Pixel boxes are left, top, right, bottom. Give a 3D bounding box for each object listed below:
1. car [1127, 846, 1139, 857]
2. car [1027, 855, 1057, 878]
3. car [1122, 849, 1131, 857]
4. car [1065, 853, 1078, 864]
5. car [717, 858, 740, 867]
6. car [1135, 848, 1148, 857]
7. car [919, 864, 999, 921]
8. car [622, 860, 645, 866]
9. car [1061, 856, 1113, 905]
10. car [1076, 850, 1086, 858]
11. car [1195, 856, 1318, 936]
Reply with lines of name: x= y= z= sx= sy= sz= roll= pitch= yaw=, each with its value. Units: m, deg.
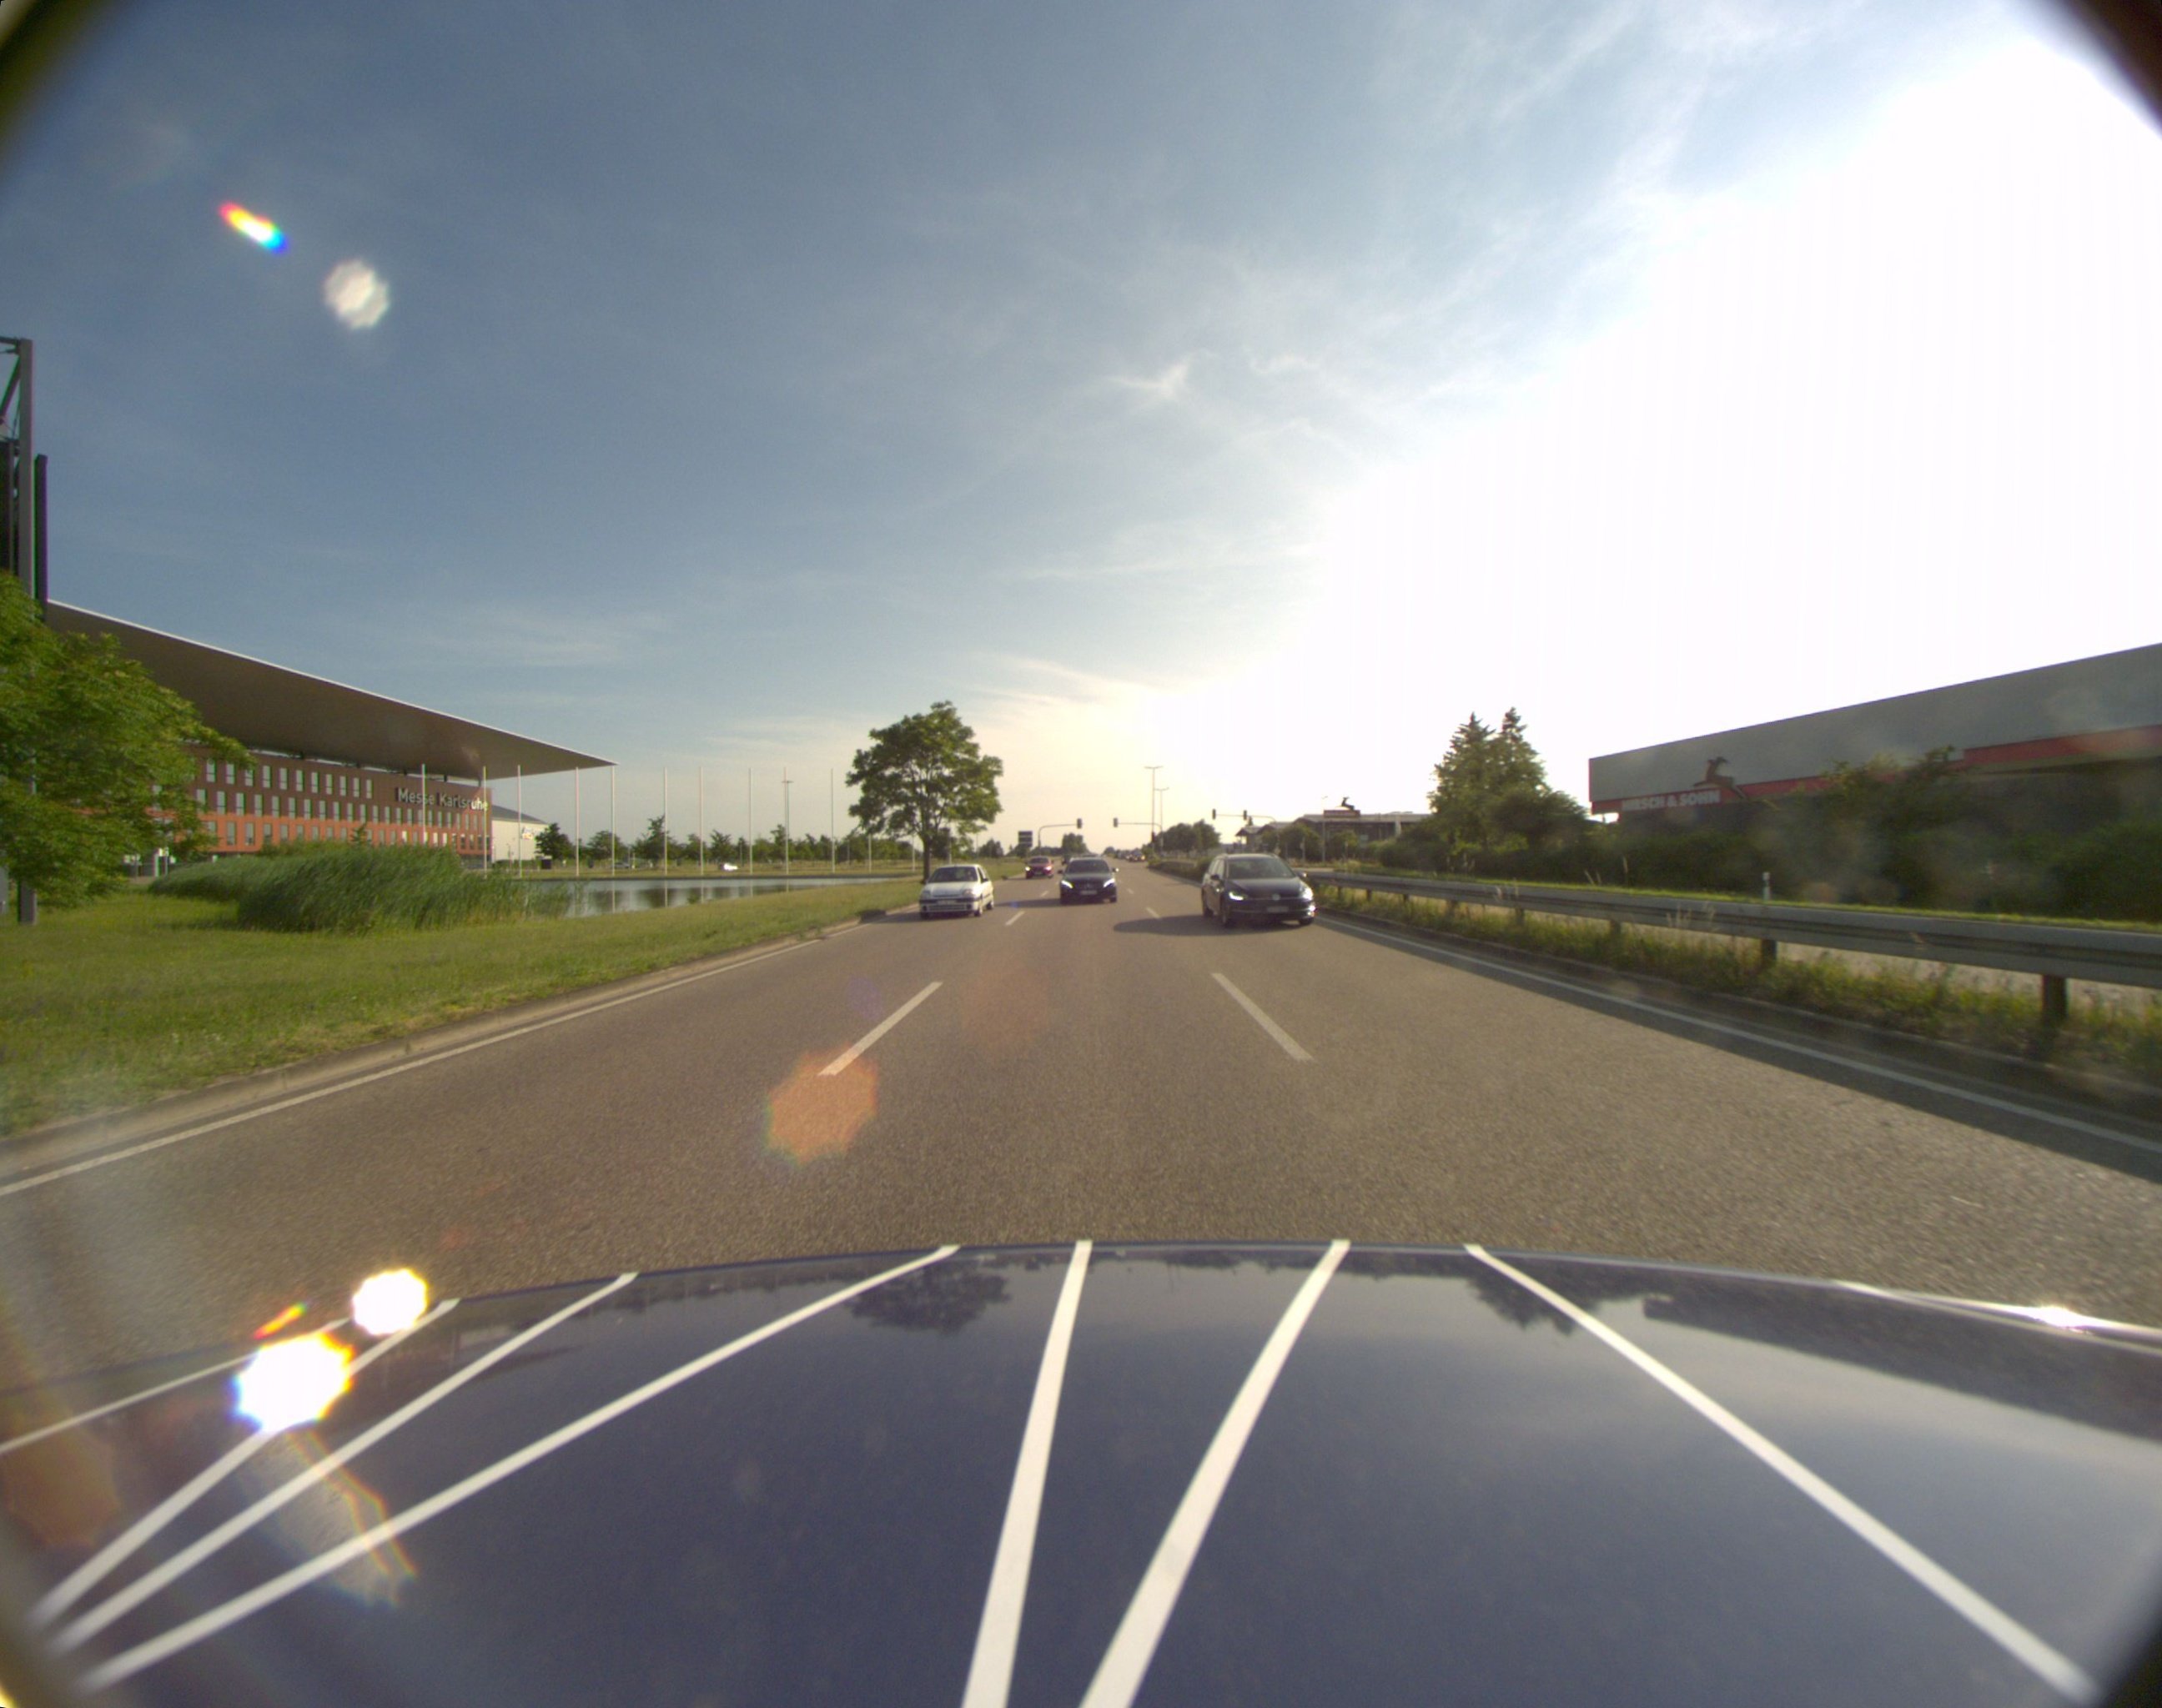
car: x=8.487 y=-0.419 z=124.258 sx=1.650 sy=1.823 sz=4.226 roll=-1 pitch=0 yaw=1
car: x=-2.671 y=0.825 z=52.773 sx=1.751 sy=1.512 sz=3.739 roll=-1 pitch=0 yaw=1
car: x=9.828 y=-0.217 z=165.044 sx=1.751 sy=1.512 sz=3.739 roll=-1 pitch=0 yaw=-1
car: x=-1.401 y=0.595 z=109.825 sx=1.751 sy=1.512 sz=3.739 roll=-1 pitch=0 yaw=1
car: x=-62.024 y=1.458 z=133.799 sx=1.709 sy=1.447 sz=3.568 roll=-1 pitch=0 yaw=13
car: x=9.404 y=-0.208 z=117.879 sx=1.711 sy=1.428 sz=3.565 roll=-1 pitch=0 yaw=1
car: x=-3.318 y=1.014 z=21.220 sx=1.578 sy=1.371 sz=3.452 roll=-1 pitch=0 yaw=1
car: x=-99.999 y=1.991 z=169.802 sx=4.209 sy=1.272 sz=1.486 roll=-1 pitch=0 yaw=-2
car: x=0.241 y=0.835 z=25.999 sx=1.576 sy=1.462 sz=5.022 roll=-1 pitch=0 yaw=1
car: x=-0.017 y=0.026 z=141.896 sx=1.751 sy=1.512 sz=3.739 roll=-1 pitch=0 yaw=1
car: x=3.664 y=0.795 z=16.670 sx=1.650 sy=1.462 sz=4.776 roll=-1 pitch=0 yaw=1
